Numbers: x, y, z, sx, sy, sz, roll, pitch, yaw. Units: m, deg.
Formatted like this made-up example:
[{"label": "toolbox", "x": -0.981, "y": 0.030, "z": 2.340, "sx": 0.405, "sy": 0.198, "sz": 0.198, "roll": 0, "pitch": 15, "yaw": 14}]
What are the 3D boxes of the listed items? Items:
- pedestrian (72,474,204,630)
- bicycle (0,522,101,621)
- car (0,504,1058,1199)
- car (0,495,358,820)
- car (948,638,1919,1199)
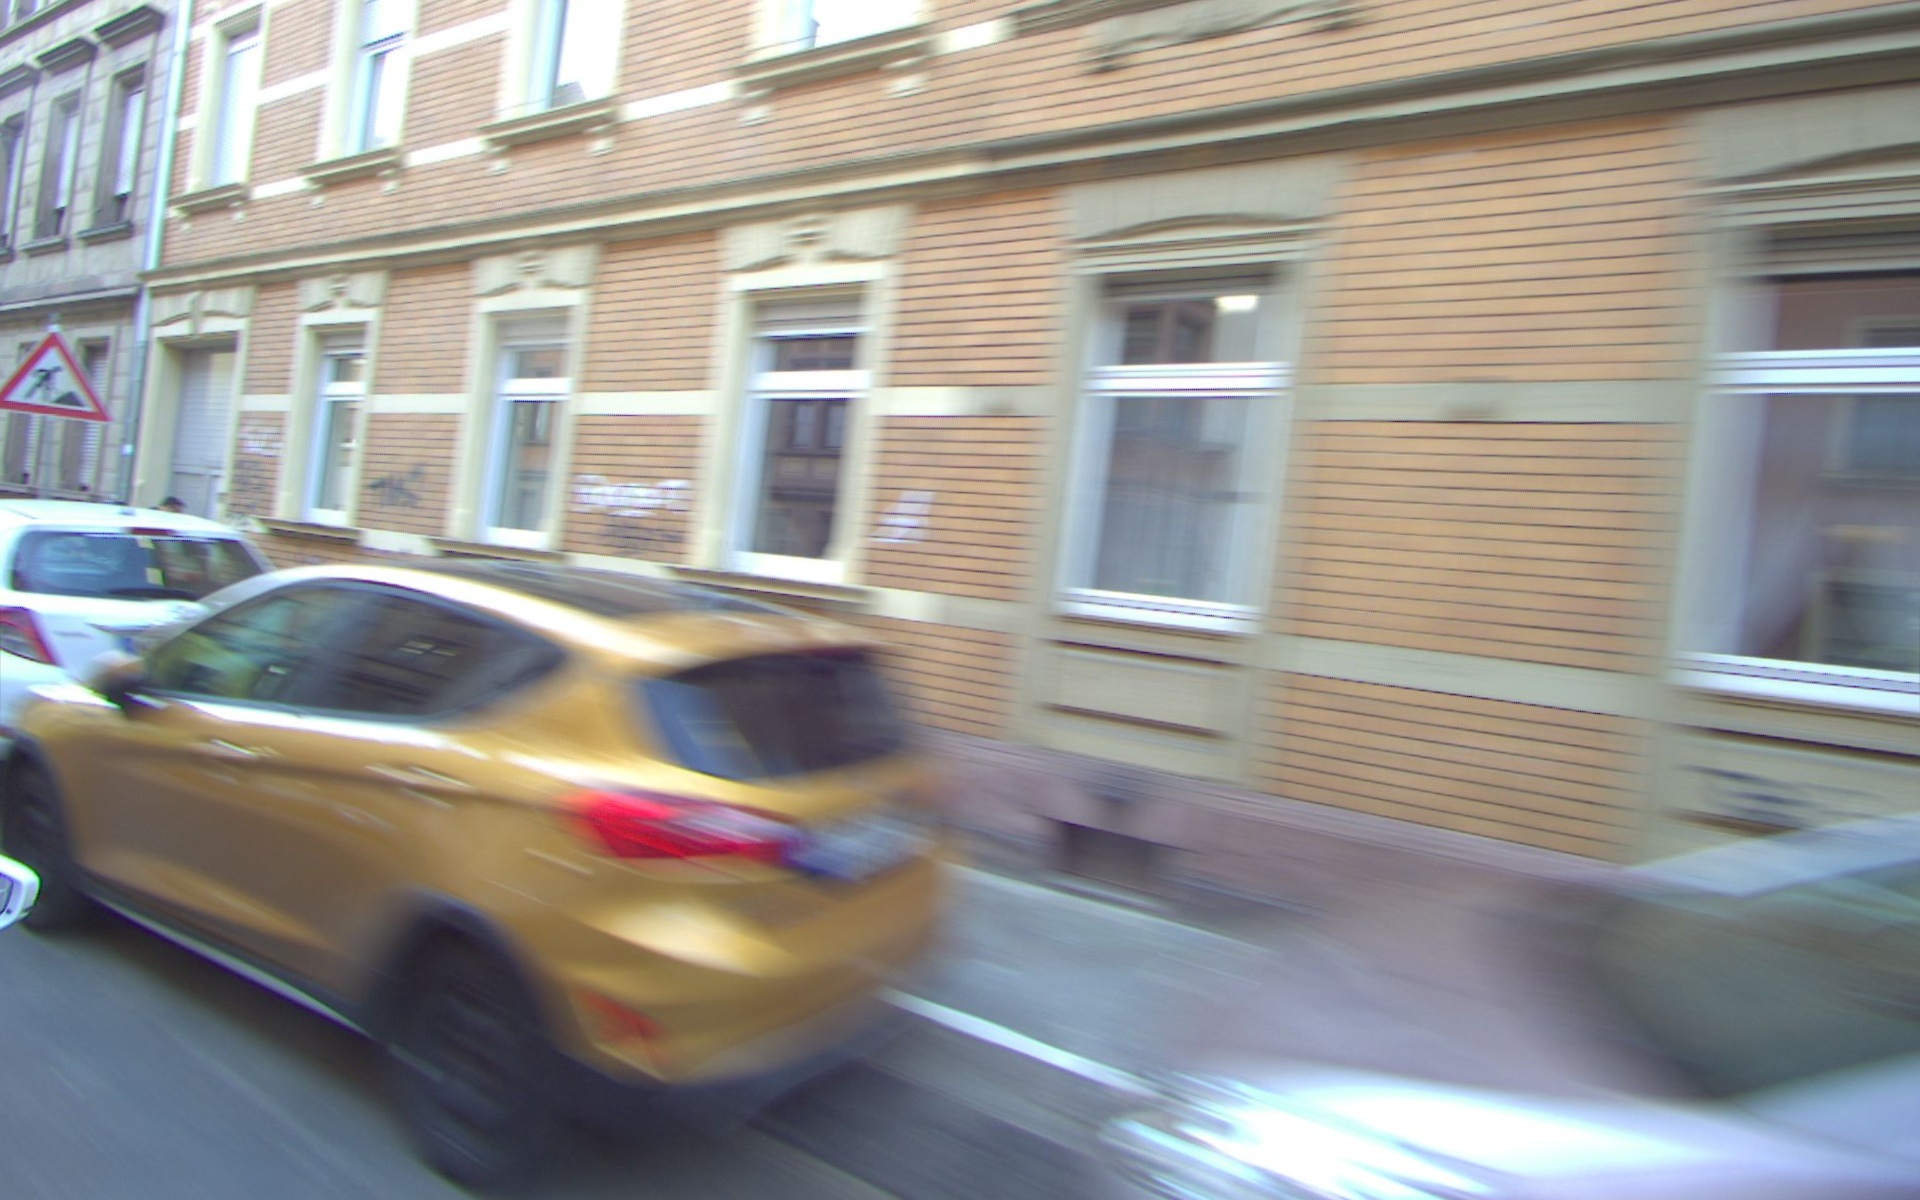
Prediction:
[{"label": "pedestrian", "x": -9.396, "y": -0.535, "z": 11.527, "sx": 0.866, "sy": 1.651, "sz": 0.654, "roll": 5, "pitch": 1, "yaw": -11}, {"label": "bicycle", "x": -11.392, "y": -0.362, "z": 12.528, "sx": 1.541, "sy": 1.080, "sz": 0.517, "roll": 7, "pitch": 2, "yaw": 30}, {"label": "car", "x": -1.880, "y": 0.555, "z": 3.721, "sx": 3.999, "sy": 1.465, "sz": 1.755, "roll": 7, "pitch": 2, "yaw": 29}, {"label": "car", "x": -5.904, "y": 0.129, "z": 6.482, "sx": 4.014, "sy": 1.501, "sz": 1.721, "roll": 7, "pitch": 3, "yaw": 30}, {"label": "car", "x": 2.153, "y": 1.038, "z": 1.428, "sx": 4.024, "sy": 1.437, "sz": 1.726, "roll": 7, "pitch": 3, "yaw": 29}]
